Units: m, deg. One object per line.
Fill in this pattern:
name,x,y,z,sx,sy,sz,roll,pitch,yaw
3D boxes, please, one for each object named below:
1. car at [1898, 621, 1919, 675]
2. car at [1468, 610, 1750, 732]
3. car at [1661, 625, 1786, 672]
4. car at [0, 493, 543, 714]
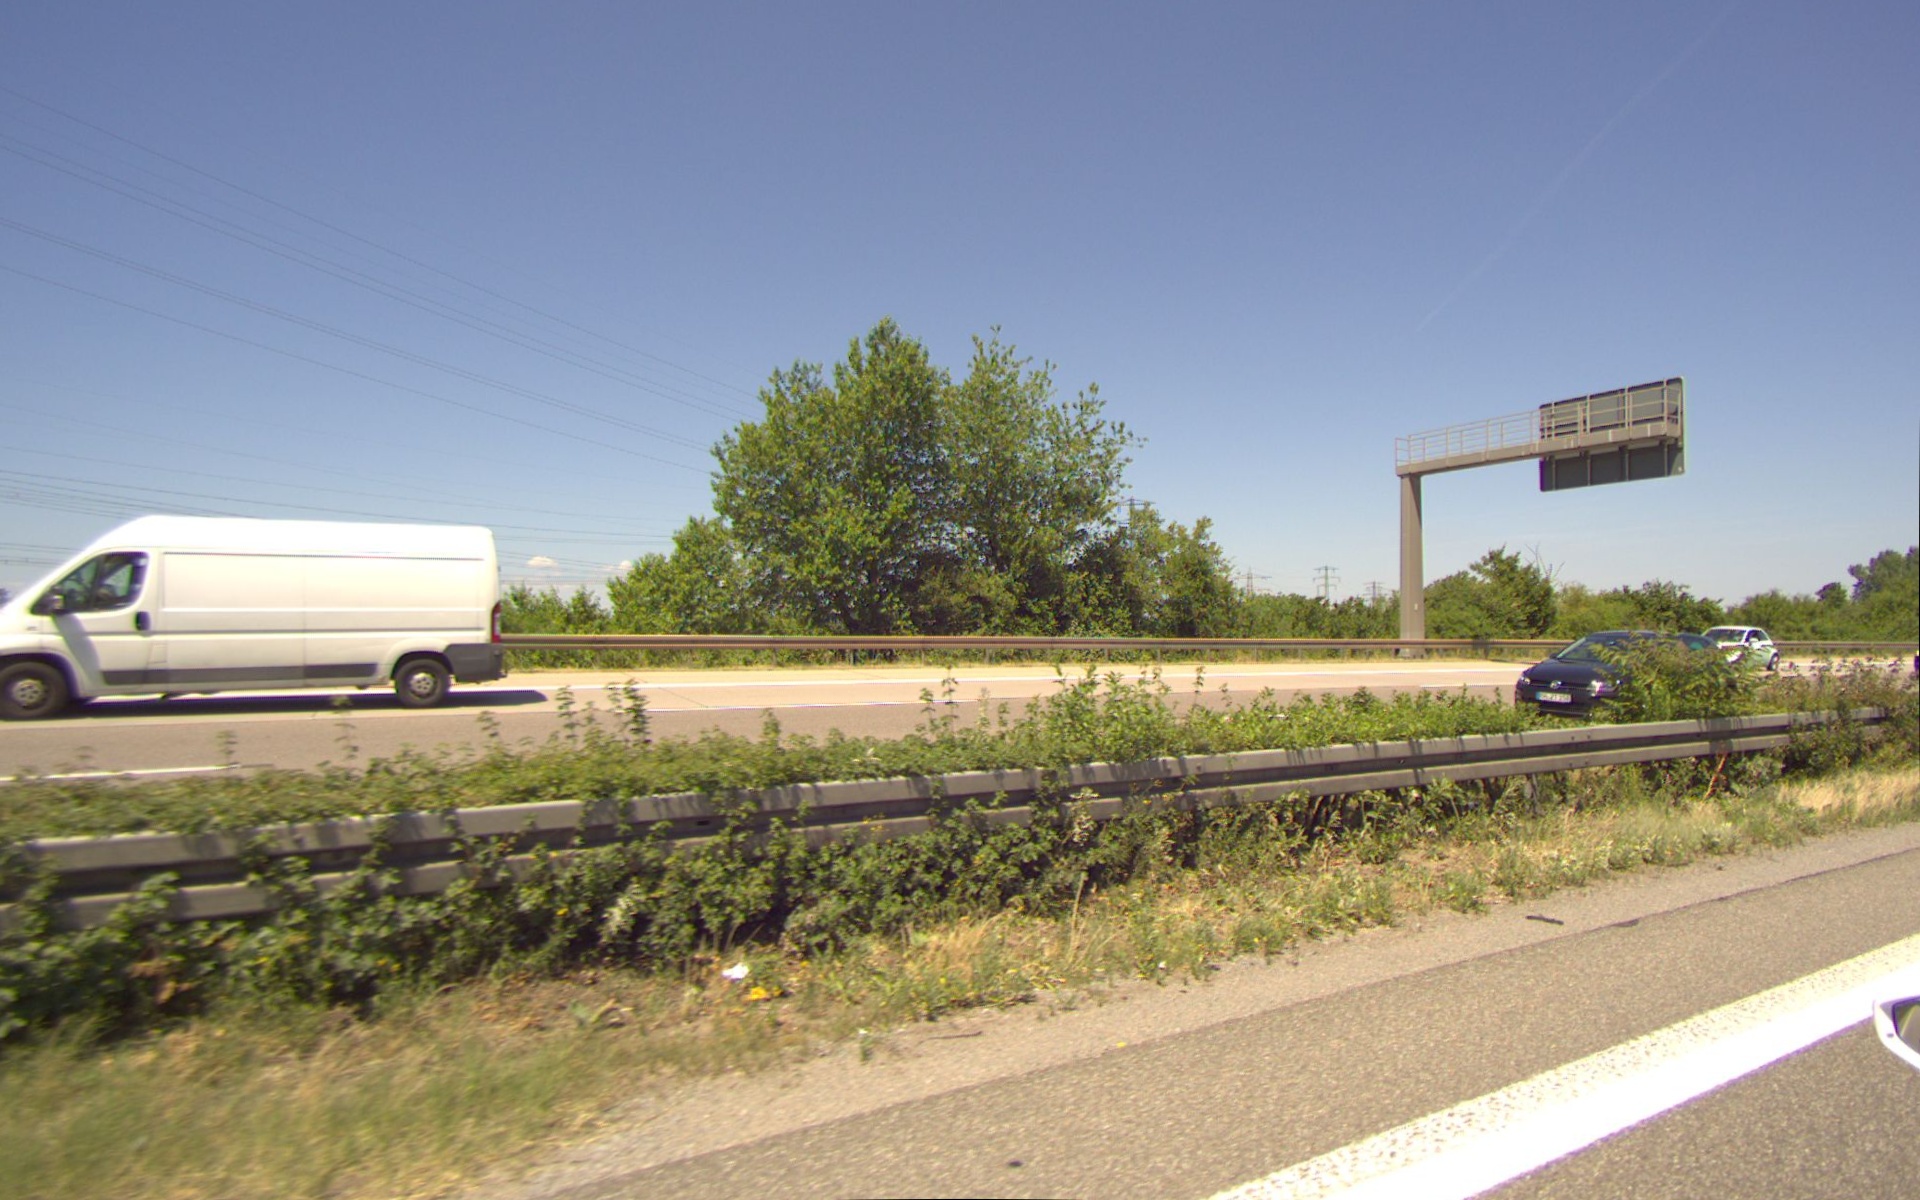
car,33.108,1.617,33.106,4.552,1.720,1.984,2,-1,-30
car,10.552,1.068,16.268,4.552,1.720,1.984,2,-1,-30
car,26.413,1.660,34.743,4.038,1.477,1.985,2,-1,-29
car,-9.177,0.101,13.643,6.260,2.510,2.121,2,-1,-30
